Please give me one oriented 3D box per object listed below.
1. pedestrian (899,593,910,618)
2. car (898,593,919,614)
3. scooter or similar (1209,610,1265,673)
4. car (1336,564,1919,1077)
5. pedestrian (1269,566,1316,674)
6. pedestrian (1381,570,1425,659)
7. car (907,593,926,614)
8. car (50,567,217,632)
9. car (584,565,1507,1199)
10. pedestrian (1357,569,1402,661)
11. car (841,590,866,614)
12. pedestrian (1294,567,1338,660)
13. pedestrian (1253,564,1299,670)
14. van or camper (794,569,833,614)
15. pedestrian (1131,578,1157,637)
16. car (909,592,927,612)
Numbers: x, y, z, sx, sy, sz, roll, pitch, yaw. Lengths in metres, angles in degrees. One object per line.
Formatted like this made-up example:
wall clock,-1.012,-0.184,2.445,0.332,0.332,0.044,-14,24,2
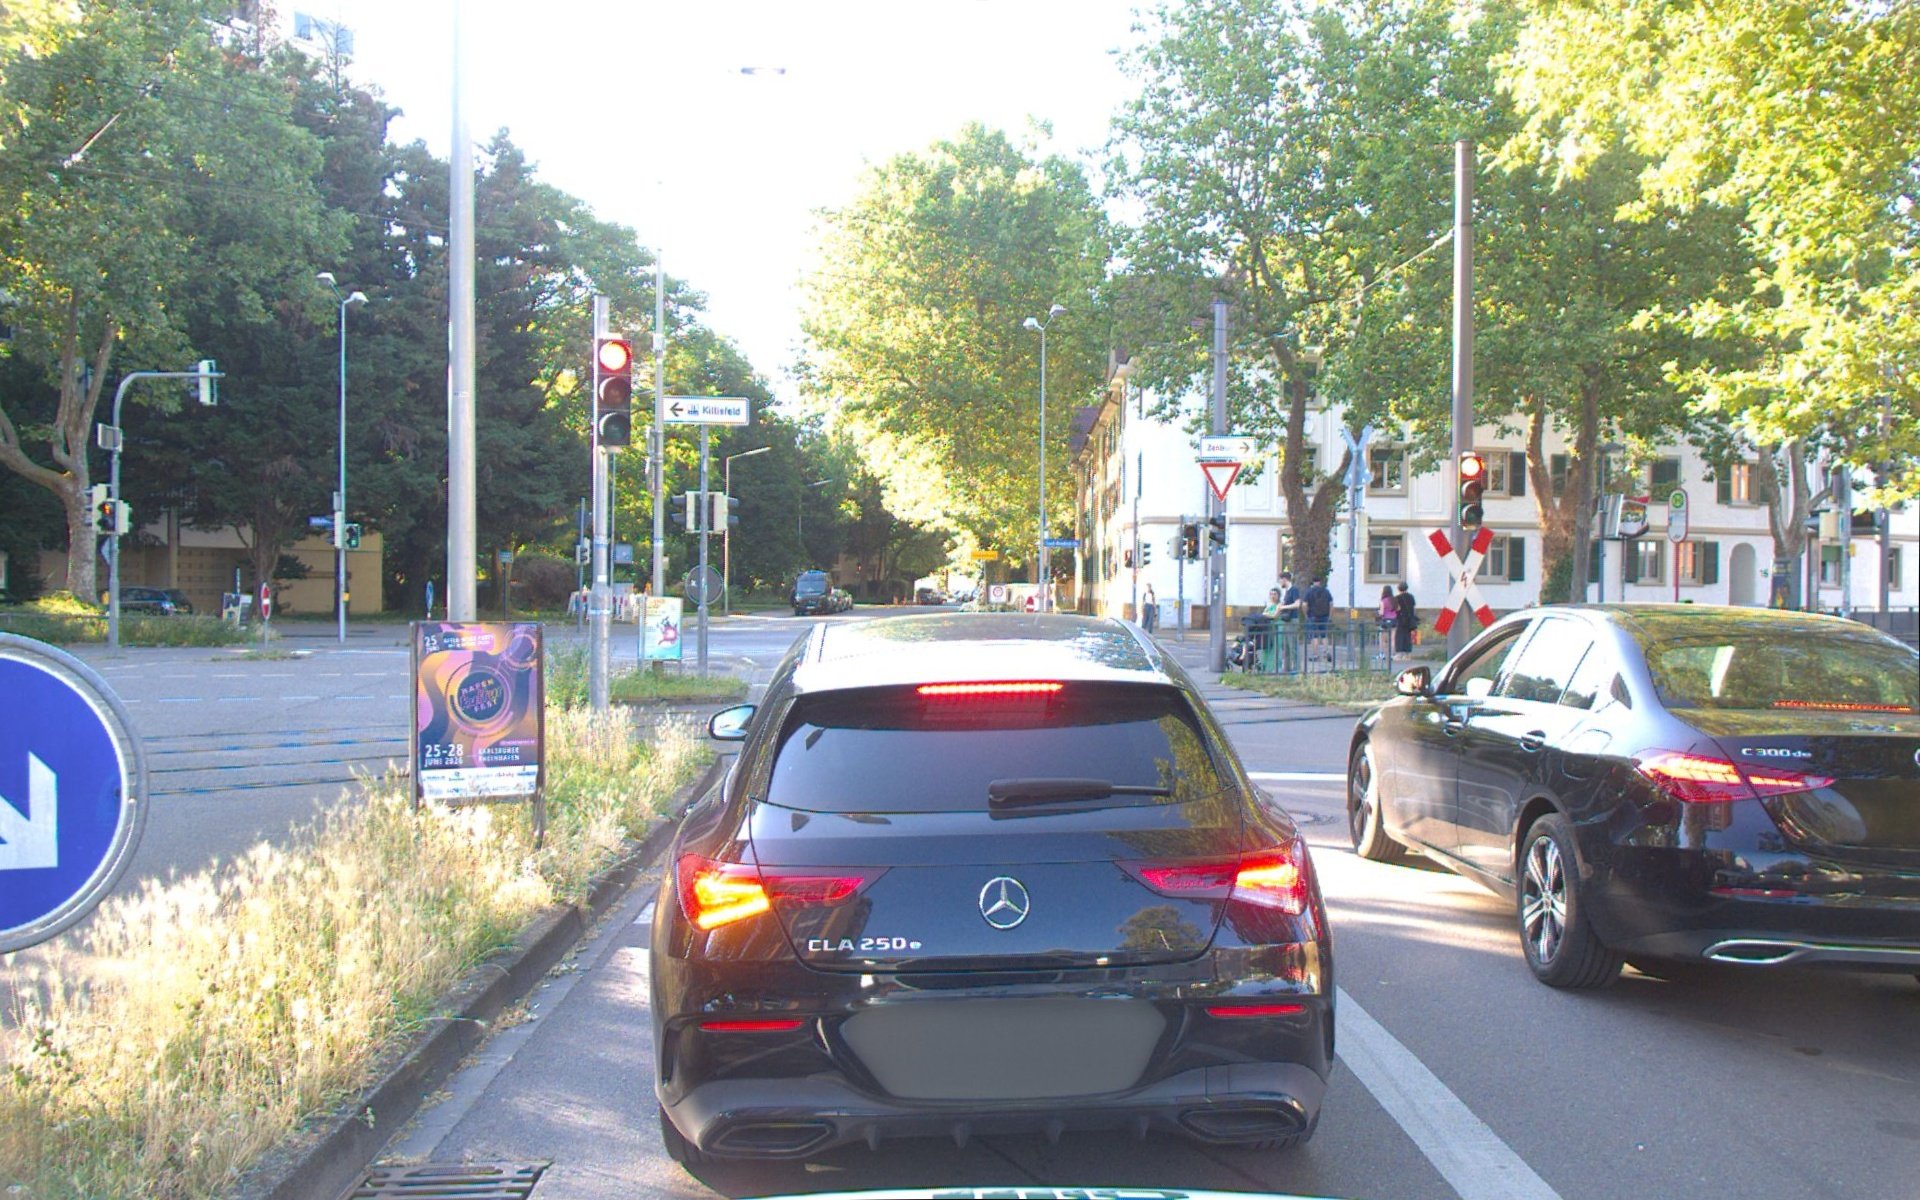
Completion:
pedestrian,-4.366,0.457,129.947,0.692,1.951,0.837,1,-1,-11
car,-4.531,0.352,145.483,1.698,1.796,4.018,1,0,-1
scooter or similar,5.092,0.757,30.444,0.812,1.124,0.808,1,0,-6
car,3.167,0.657,7.363,1.851,1.516,4.381,1,2,-2
pedestrian,6.069,0.361,30.200,0.669,1.951,0.707,1,-1,-3
pedestrian,9.858,0.317,36.809,0.691,1.951,0.838,1,-1,-4
car,-3.956,0.320,150.313,1.698,1.796,4.018,1,0,-1
car,-24.378,-0.010,48.844,3.902,1.805,2.001,1,0,7
car,0.187,0.676,5.363,1.851,1.475,4.001,1,2,0
pedestrian,9.067,0.330,35.797,0.691,1.951,0.838,1,-1,-4
car,-8.135,0.147,126.271,1.698,1.796,3.970,1,0,-1
pedestrian,7.587,0.281,35.292,0.691,1.951,0.838,1,-1,-4
pedestrian,5.912,0.308,30.970,0.669,1.951,0.706,1,-1,-5
van or camper,-8.794,-0.483,99.606,1.953,2.586,4.650,1,0,-1
pedestrian,6.126,0.245,55.015,0.691,1.951,0.838,1,-1,-4
car,-4.005,0.210,158.396,1.698,1.796,4.018,1,0,-1
